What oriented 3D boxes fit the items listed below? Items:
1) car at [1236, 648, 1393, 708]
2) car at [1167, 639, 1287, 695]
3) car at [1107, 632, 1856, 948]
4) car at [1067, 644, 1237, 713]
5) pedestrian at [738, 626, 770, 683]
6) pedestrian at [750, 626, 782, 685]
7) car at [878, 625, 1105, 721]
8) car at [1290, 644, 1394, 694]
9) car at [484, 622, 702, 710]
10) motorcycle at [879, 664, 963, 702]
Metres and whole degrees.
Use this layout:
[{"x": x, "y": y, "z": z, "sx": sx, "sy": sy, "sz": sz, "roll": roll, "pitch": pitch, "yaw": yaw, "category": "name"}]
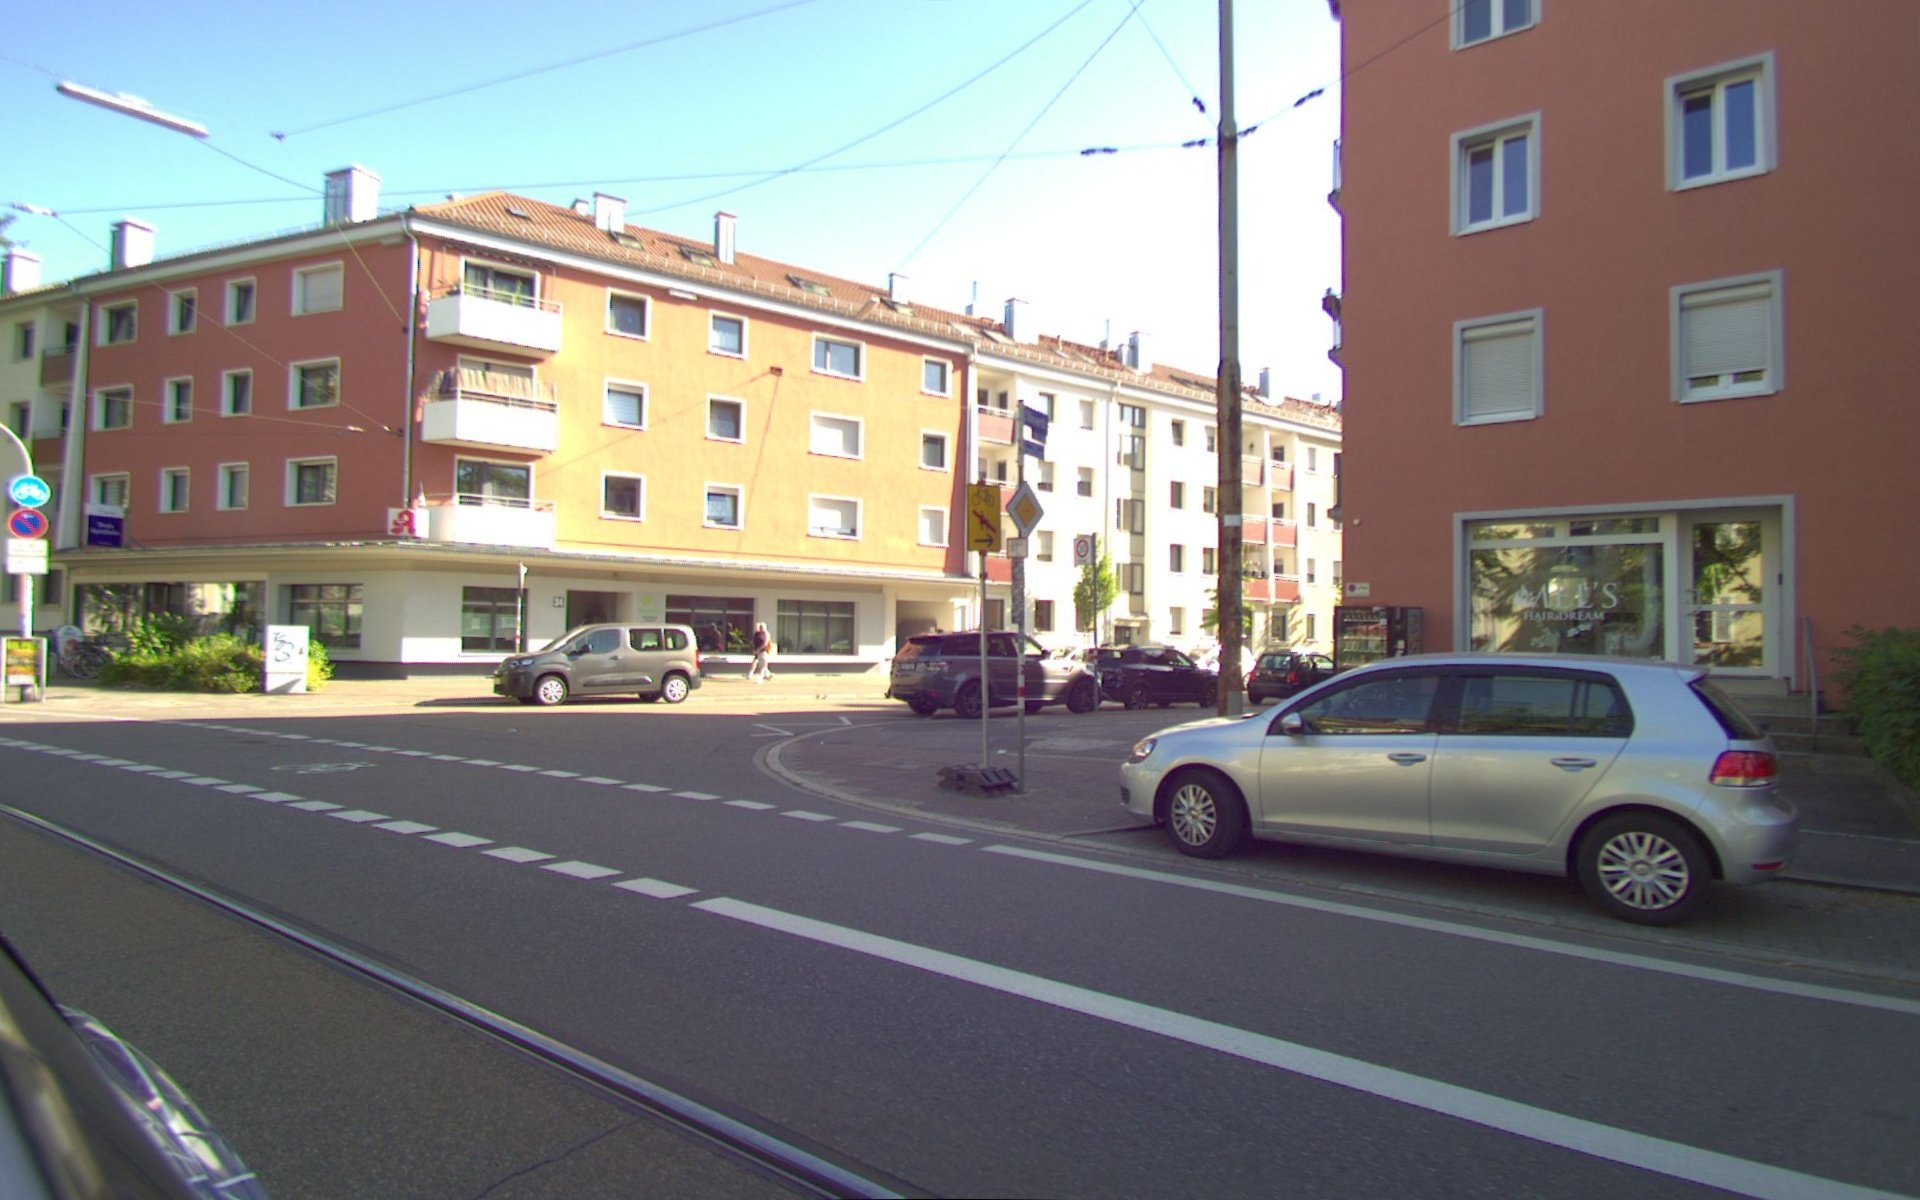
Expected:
[{"x": 9.787, "y": 2.122, "z": 27.807, "sx": 4.416, "sy": 1.518, "sz": 1.793, "roll": 3, "pitch": -3, "yaw": -34, "category": "car"}, {"x": 9.236, "y": 2.299, "z": 34.918, "sx": 4.219, "sy": 1.793, "sz": 1.792, "roll": 3, "pitch": -4, "yaw": -37, "category": "car"}, {"x": 3.176, "y": 0.993, "z": 6.819, "sx": 4.087, "sy": 1.517, "sz": 1.559, "roll": -1, "pitch": -2, "yaw": 35, "category": "car"}, {"x": 4.631, "y": 1.862, "z": 24.215, "sx": 3.943, "sy": 1.518, "sz": 1.690, "roll": 3, "pitch": -3, "yaw": -34, "category": "car"}, {"x": -6.432, "y": 1.705, "z": 31.647, "sx": 0.791, "sy": 1.779, "sz": 0.509, "roll": 3, "pitch": -3, "yaw": -34, "category": "pedestrian"}, {"x": -5.948, "y": 1.709, "z": 30.992, "sx": 0.791, "sy": 1.779, "sz": 0.509, "roll": 3, "pitch": -3, "yaw": -34, "category": "pedestrian"}, {"x": 0.700, "y": 1.487, "z": 20.837, "sx": 4.416, "sy": 1.793, "sz": 1.793, "roll": 3, "pitch": -3, "yaw": -33, "category": "car"}, {"x": 14.777, "y": 2.655, "z": 39.071, "sx": 4.219, "sy": 1.793, "sz": 1.792, "roll": 3, "pitch": -4, "yaw": -37, "category": "car"}, {"x": -8.156, "y": 1.475, "z": 22.677, "sx": 4.219, "sy": 1.793, "sz": 1.792, "roll": 3, "pitch": -4, "yaw": -37, "category": "car"}, {"x": -1.052, "y": 2.255, "z": 27.676, "sx": 2.239, "sy": 0.992, "sz": 0.656, "roll": 3, "pitch": -3, "yaw": -32, "category": "motorcycle"}]
